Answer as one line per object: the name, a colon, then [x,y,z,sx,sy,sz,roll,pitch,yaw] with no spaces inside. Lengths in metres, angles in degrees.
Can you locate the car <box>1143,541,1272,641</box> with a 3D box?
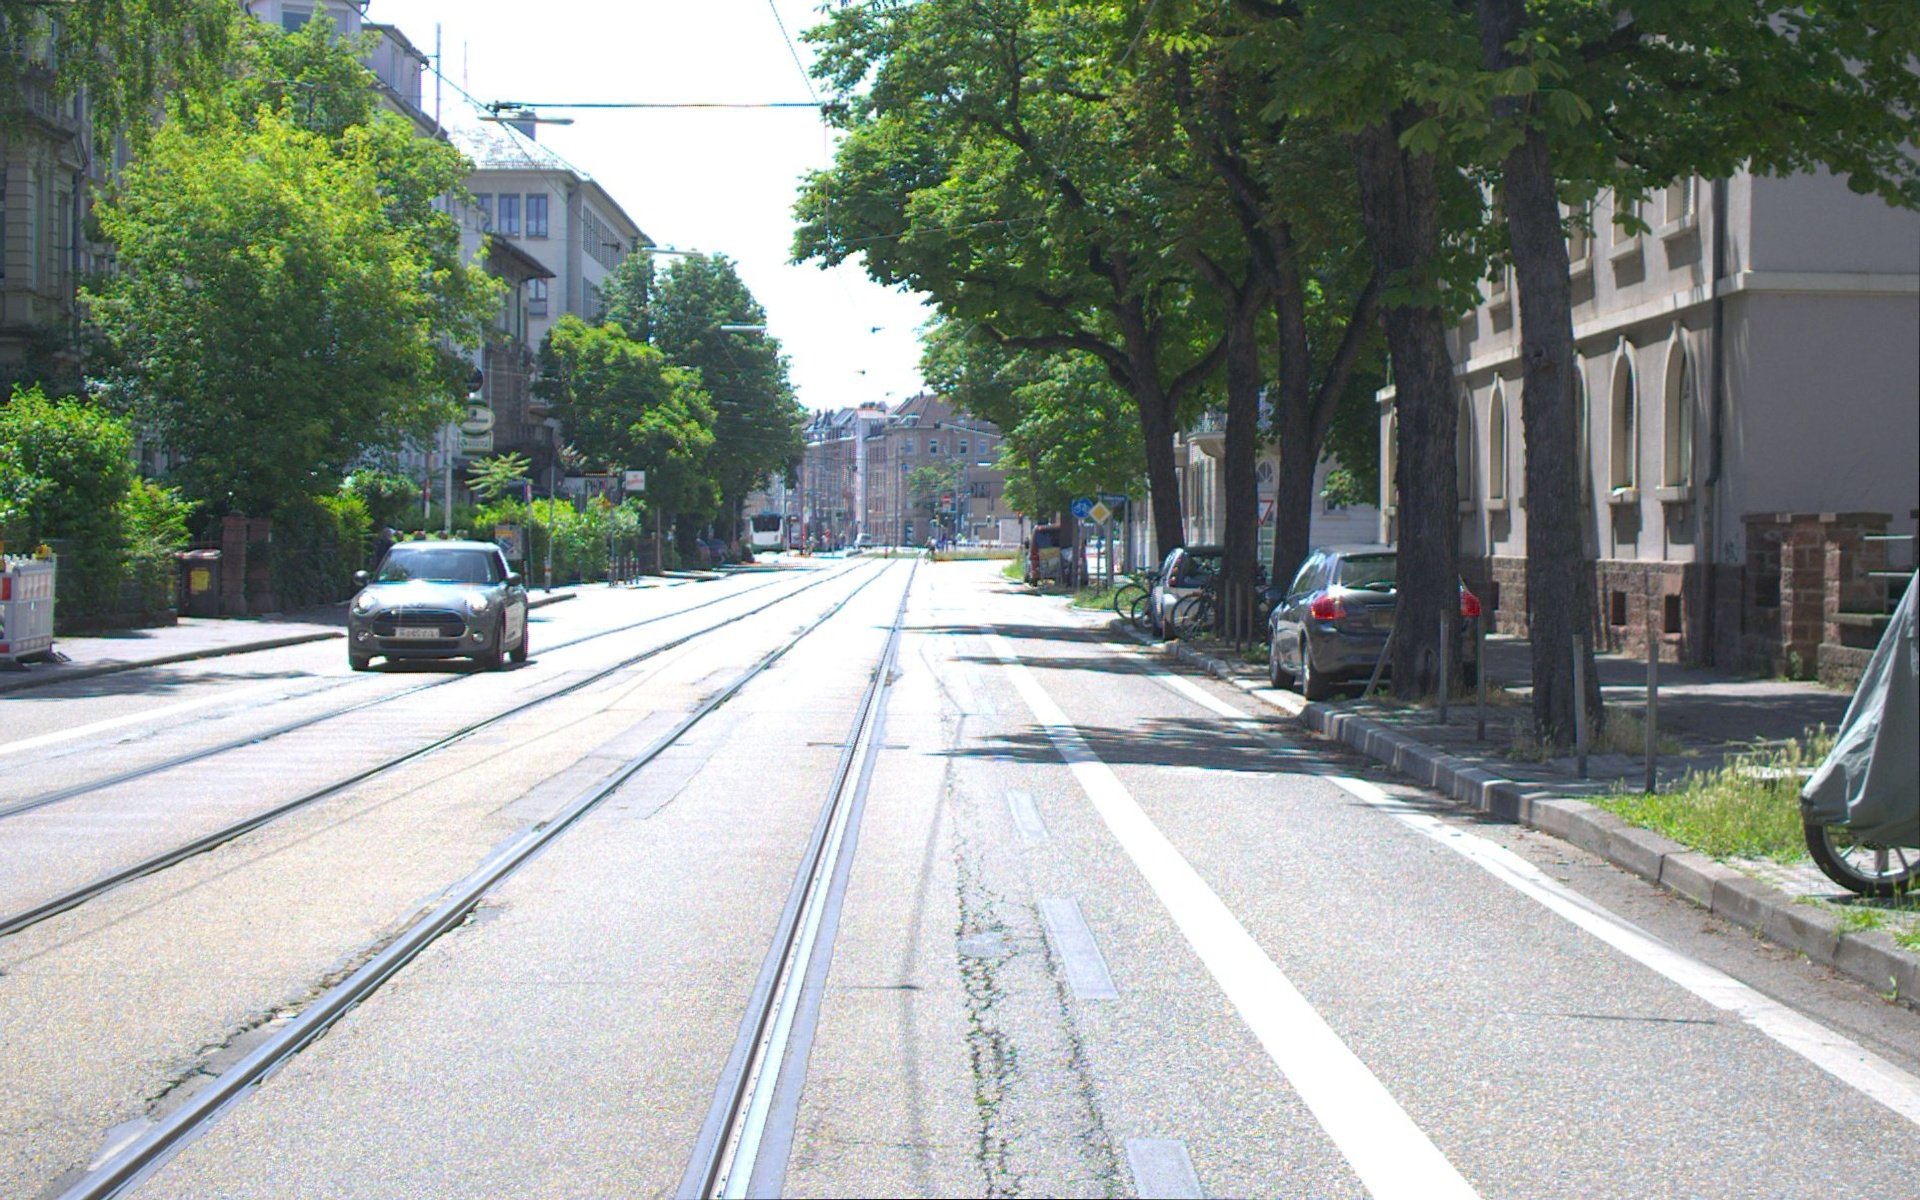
car: [3.831,-0.147,53.683,1.621,1.443,3.810,-2,1,-1]

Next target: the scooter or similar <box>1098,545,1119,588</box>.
scooter or similar: [4.320,-0.987,100.046,0.501,1.225,1.573,1,1,-1]

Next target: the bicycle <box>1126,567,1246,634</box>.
bicycle: [3.850,0.005,58.737,2.010,1.109,0.640,-1,0,2]

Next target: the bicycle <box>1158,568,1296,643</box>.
bicycle: [3.842,0.081,49.463,1.963,1.059,0.598,0,0,7]

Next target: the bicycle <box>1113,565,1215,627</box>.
bicycle: [3.754,-0.071,63.282,1.816,1.109,0.493,-1,0,-1]

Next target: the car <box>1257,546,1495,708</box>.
car: [4.181,0.224,35.139,1.774,1.496,4.306,-1,1,-2]

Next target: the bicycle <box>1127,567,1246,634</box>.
bicycle: [3.822,0.014,58.114,1.963,1.109,0.598,-1,0,2]

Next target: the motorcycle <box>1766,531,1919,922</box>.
motorcycle: [4.441,0.508,13.533,2.319,1.535,0.867,2,2,42]

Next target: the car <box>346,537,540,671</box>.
car: [-5.902,0.011,39.567,1.686,1.449,3.748,0,1,0]

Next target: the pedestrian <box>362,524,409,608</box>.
pedestrian: [-11.181,-0.660,66.949,0.751,1.623,0.833,1,1,1]

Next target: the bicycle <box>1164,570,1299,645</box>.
bicycle: [3.875,0.098,49.044,1.890,1.048,0.538,0,0,7]
